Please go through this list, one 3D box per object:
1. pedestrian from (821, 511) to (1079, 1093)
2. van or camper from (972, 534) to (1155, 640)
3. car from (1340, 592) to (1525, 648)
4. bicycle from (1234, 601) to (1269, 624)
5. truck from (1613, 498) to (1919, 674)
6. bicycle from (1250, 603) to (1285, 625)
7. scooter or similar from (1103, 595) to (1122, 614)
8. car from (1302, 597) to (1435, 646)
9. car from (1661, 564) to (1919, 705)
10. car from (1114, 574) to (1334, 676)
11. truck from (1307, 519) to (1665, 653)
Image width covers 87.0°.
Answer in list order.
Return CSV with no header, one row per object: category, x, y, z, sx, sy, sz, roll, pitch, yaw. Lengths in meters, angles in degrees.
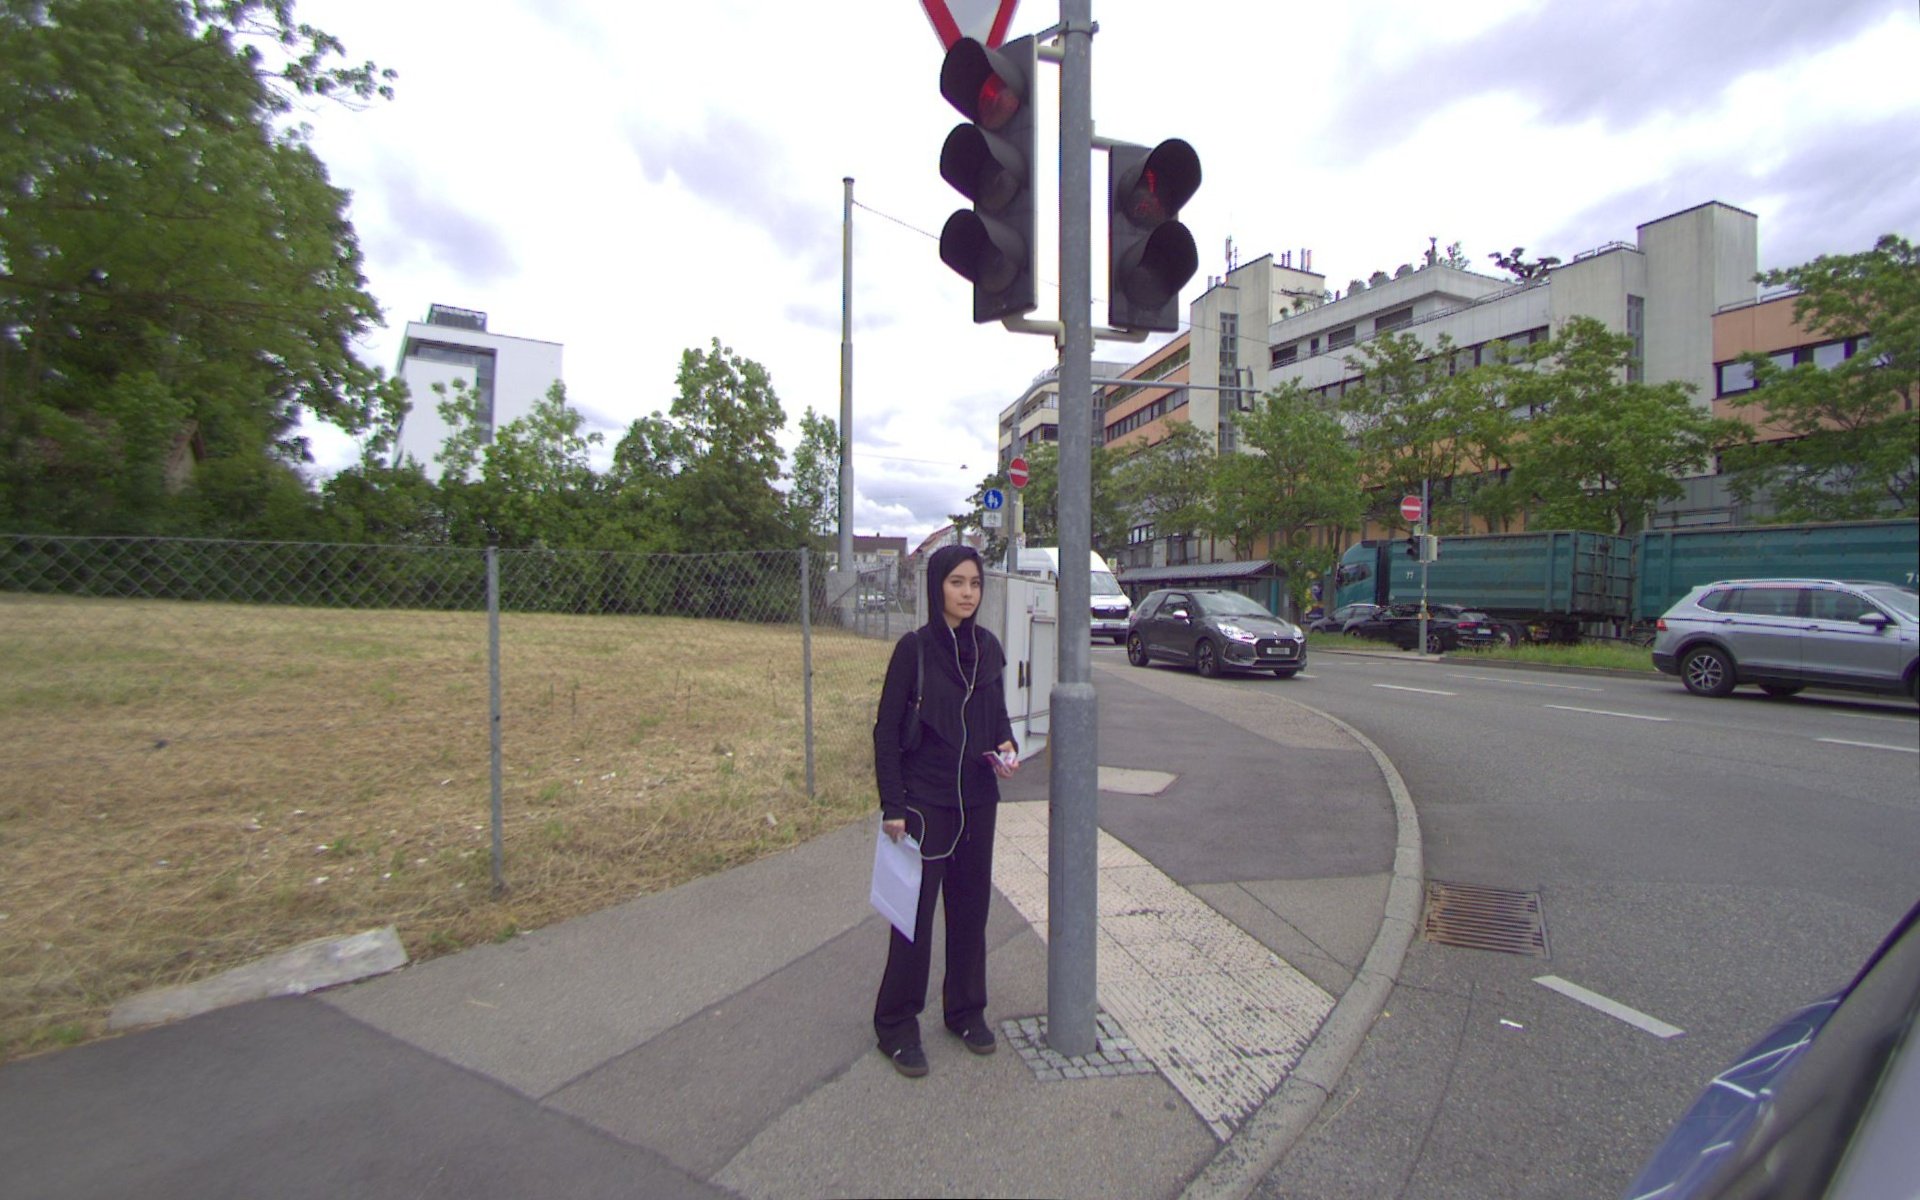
pedestrian,-0.057,0.550,3.177,0.594,1.616,0.611,1,2,-21
van or camper,2.848,-0.334,30.217,2.233,2.741,7.007,2,-1,-23
car,12.956,0.520,28.077,1.958,1.349,4.454,2,0,-23
bicycle,16.140,0.677,55.991,2.033,1.167,0.712,-2,2,-35
truck,21.107,-0.304,24.827,3.308,3.774,8.044,2,0,-21
bicycle,16.760,0.760,55.144,2.032,1.168,0.712,1,0,-35
scooter or similar,10.283,0.315,68.064,1.298,1.285,0.340,0,0,-27
car,13.651,0.687,34.053,1.765,1.435,4.008,3,0,-24
car,11.986,0.424,13.161,1.958,1.671,4.402,1,0,-19
car,4.466,0.418,17.766,1.825,1.544,4.008,2,-1,-18
truck,17.046,-0.506,34.365,3.308,3.774,11.304,1,1,-22
